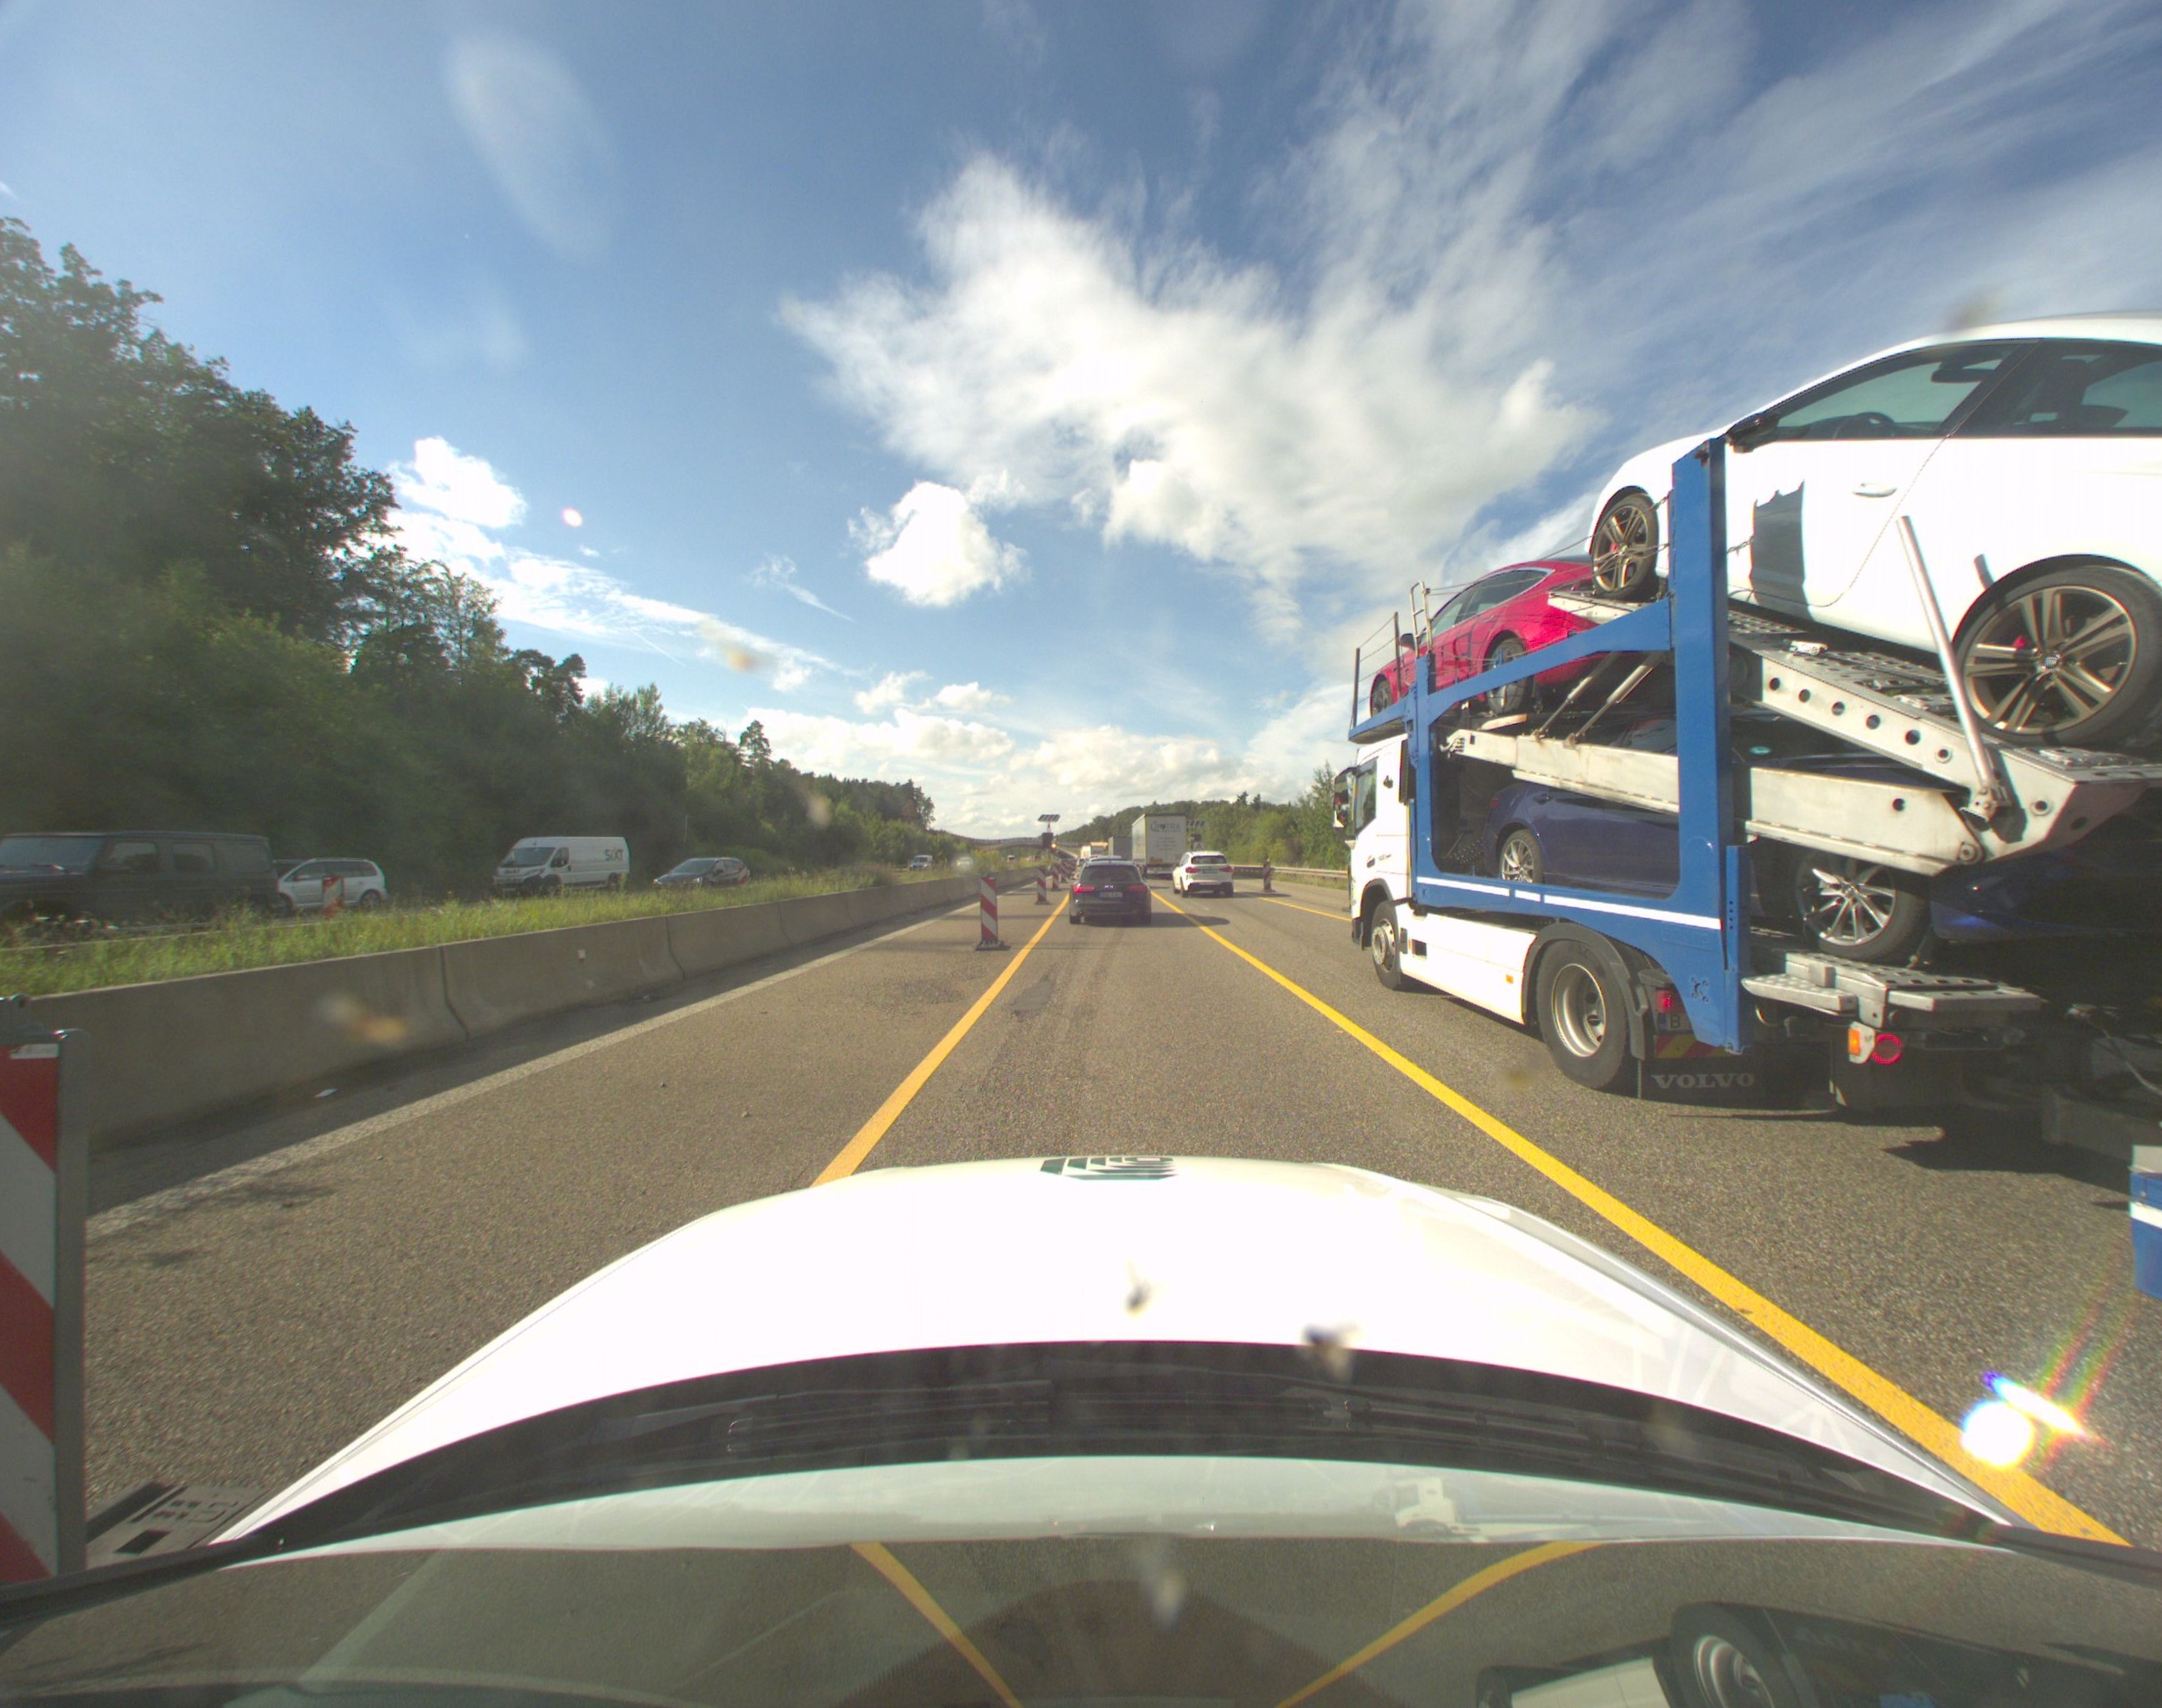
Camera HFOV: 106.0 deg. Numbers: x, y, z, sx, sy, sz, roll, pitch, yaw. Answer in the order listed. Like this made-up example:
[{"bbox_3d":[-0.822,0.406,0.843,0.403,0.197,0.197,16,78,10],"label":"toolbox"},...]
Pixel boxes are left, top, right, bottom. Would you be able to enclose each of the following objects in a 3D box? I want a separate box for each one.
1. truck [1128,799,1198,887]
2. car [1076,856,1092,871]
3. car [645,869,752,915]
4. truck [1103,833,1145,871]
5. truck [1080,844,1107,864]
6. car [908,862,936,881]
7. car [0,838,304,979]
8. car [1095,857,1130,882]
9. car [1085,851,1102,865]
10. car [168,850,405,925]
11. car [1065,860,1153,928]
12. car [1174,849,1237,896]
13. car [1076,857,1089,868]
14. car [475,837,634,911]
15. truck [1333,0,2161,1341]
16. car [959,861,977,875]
[{"bbox_3d":[5.463,-0.600,57.493,3.664,5.353,16.205,0,-1,1],"label":"truck"},{"bbox_3d":[0.443,1.355,117.698,1.989,2.014,3.995,0,-1,-4],"label":"car"},{"bbox_3d":[-13.510,1.307,29.039,1.771,1.456,4.106,0,-1,2],"label":"car"},{"bbox_3d":[5.284,-0.158,103.517,4.309,4.600,11.113,0,-1,-3],"label":"truck"},{"bbox_3d":[2.426,0.037,161.422,3.652,3.928,11.034,0,-1,-8],"label":"truck"},{"bbox_3d":[-16.028,1.732,82.238,1.771,1.786,4.366,0,-1,2],"label":"car"},{"bbox_3d":[-15.425,0.759,12.849,1.771,1.902,4.619,0,-1,2],"label":"car"},{"bbox_3d":[1.860,0.919,49.802,1.885,1.446,3.997,0,-1,-1],"label":"car"},{"bbox_3d":[1.481,0.446,98.758,1.885,1.643,4.015,0,-1,-2],"label":"car"},{"bbox_3d":[-21.927,0.862,22.823,1.853,1.853,4.763,0,-1,2],"label":"car"},{"bbox_3d":[0.662,0.868,19.413,1.883,1.446,4.001,0,-1,2],"label":"car"},{"bbox_3d":[4.634,0.685,30.858,1.883,1.643,4.019,0,-1,2],"label":"car"},{"bbox_3d":[0.219,1.583,146.887,1.991,2.014,3.991,0,-1,-6],"label":"car"},{"bbox_3d":[-21.035,0.746,33.029,2.020,2.684,6.525,0,-1,2],"label":"car"},{"bbox_3d":[4.964,-0.679,6.315,3.747,4.196,7.954,0,-1,2],"label":"truck"},{"bbox_3d":[-15.130,1.859,109.135,1.771,1.786,4.366,0,-1,2],"label":"car"}]
